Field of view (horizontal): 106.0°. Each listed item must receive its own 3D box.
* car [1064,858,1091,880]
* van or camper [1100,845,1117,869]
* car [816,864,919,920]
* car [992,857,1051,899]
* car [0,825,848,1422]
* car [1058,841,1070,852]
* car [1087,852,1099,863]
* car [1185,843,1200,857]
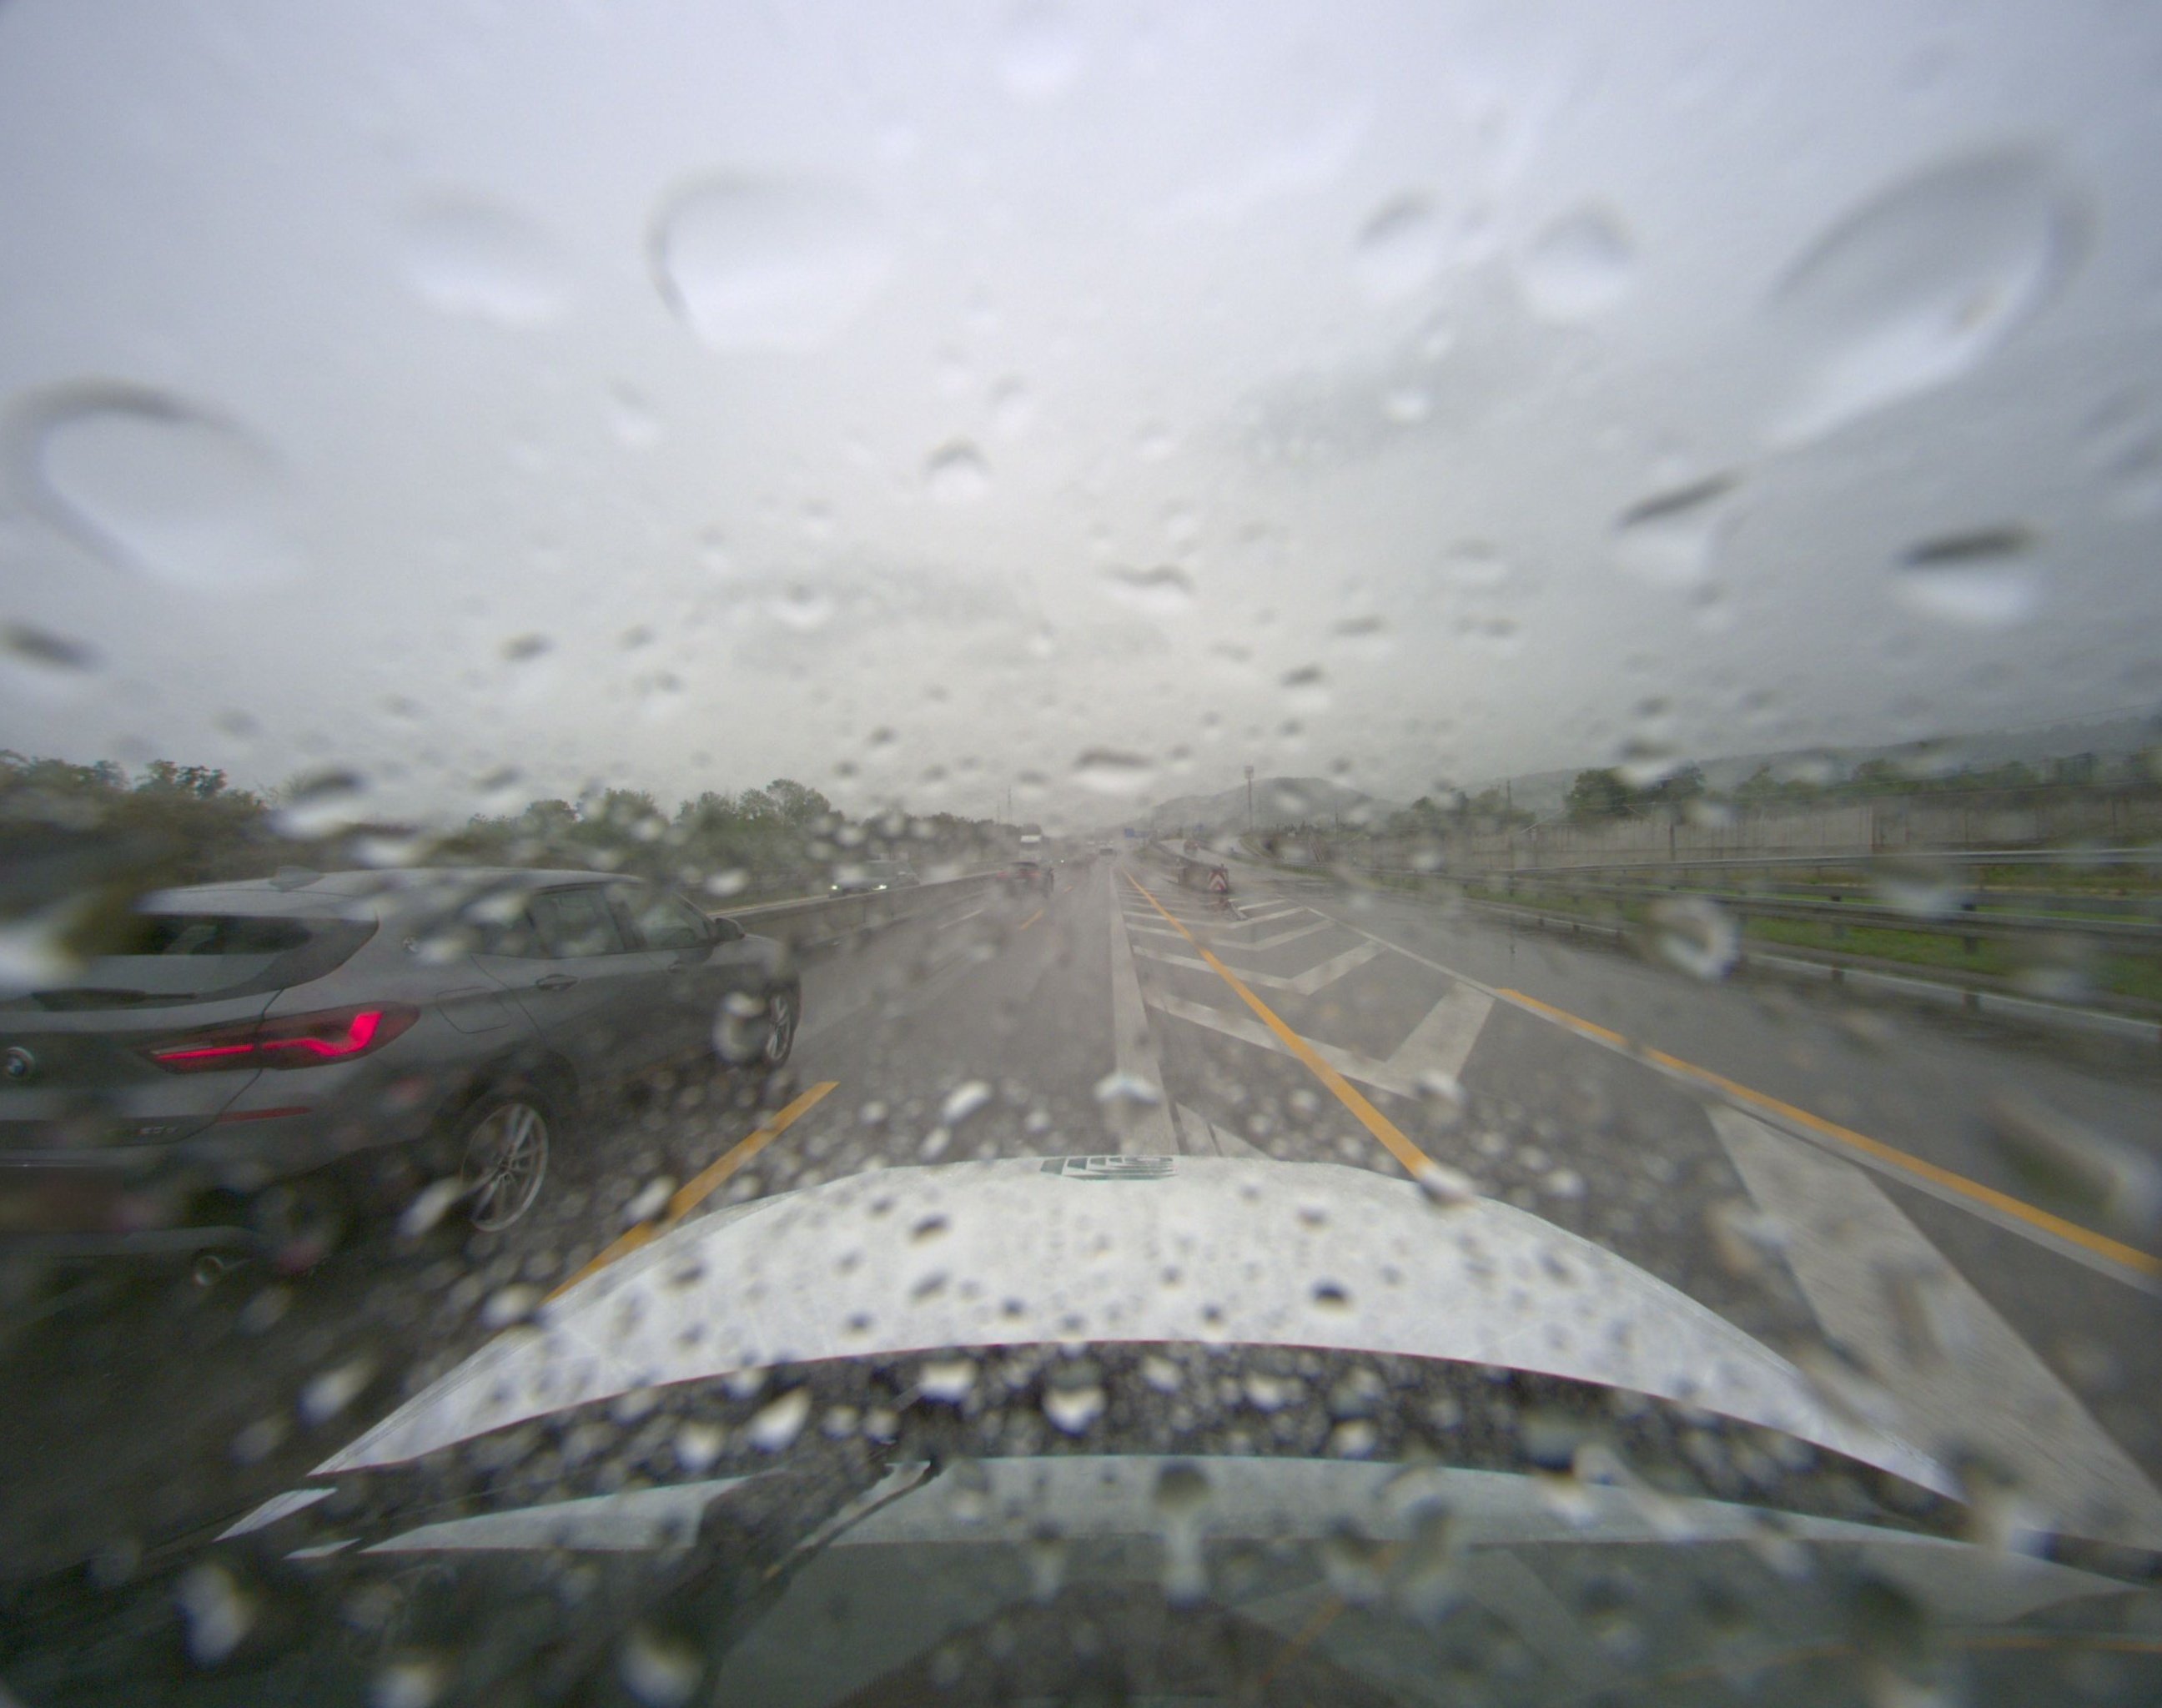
[{"bbox_3d":[-0.238,1.131,64.290,1.837,1.491,4.263,-3,1,2],"label":"car"},{"bbox_3d":[3.248,0.348,95.867,1.989,2.777,4.051,0,-1,2],"label":"van or camper"},{"bbox_3d":[-6.456,1.097,25.202,1.754,1.527,4.952,0,-1,2],"label":"car"},{"bbox_3d":[-2.208,0.863,31.257,1.837,1.491,4.263,0,-1,2],"label":"car"},{"bbox_3d":[-2.983,0.796,4.672,1.694,1.598,4.846,-3,-1,2],"label":"car"},{"bbox_3d":[-4.333,-2.002,211.359,2.699,2.813,5.098,0,-1,3],"label":"car"},{"bbox_3d":[1.746,0.466,116.684,1.561,1.480,2.822,-3,-1,1],"label":"car"},{"bbox_3d":[18.424,-0.645,134.279,1.986,2.142,4.001,0,-1,2],"label":"car"}]
